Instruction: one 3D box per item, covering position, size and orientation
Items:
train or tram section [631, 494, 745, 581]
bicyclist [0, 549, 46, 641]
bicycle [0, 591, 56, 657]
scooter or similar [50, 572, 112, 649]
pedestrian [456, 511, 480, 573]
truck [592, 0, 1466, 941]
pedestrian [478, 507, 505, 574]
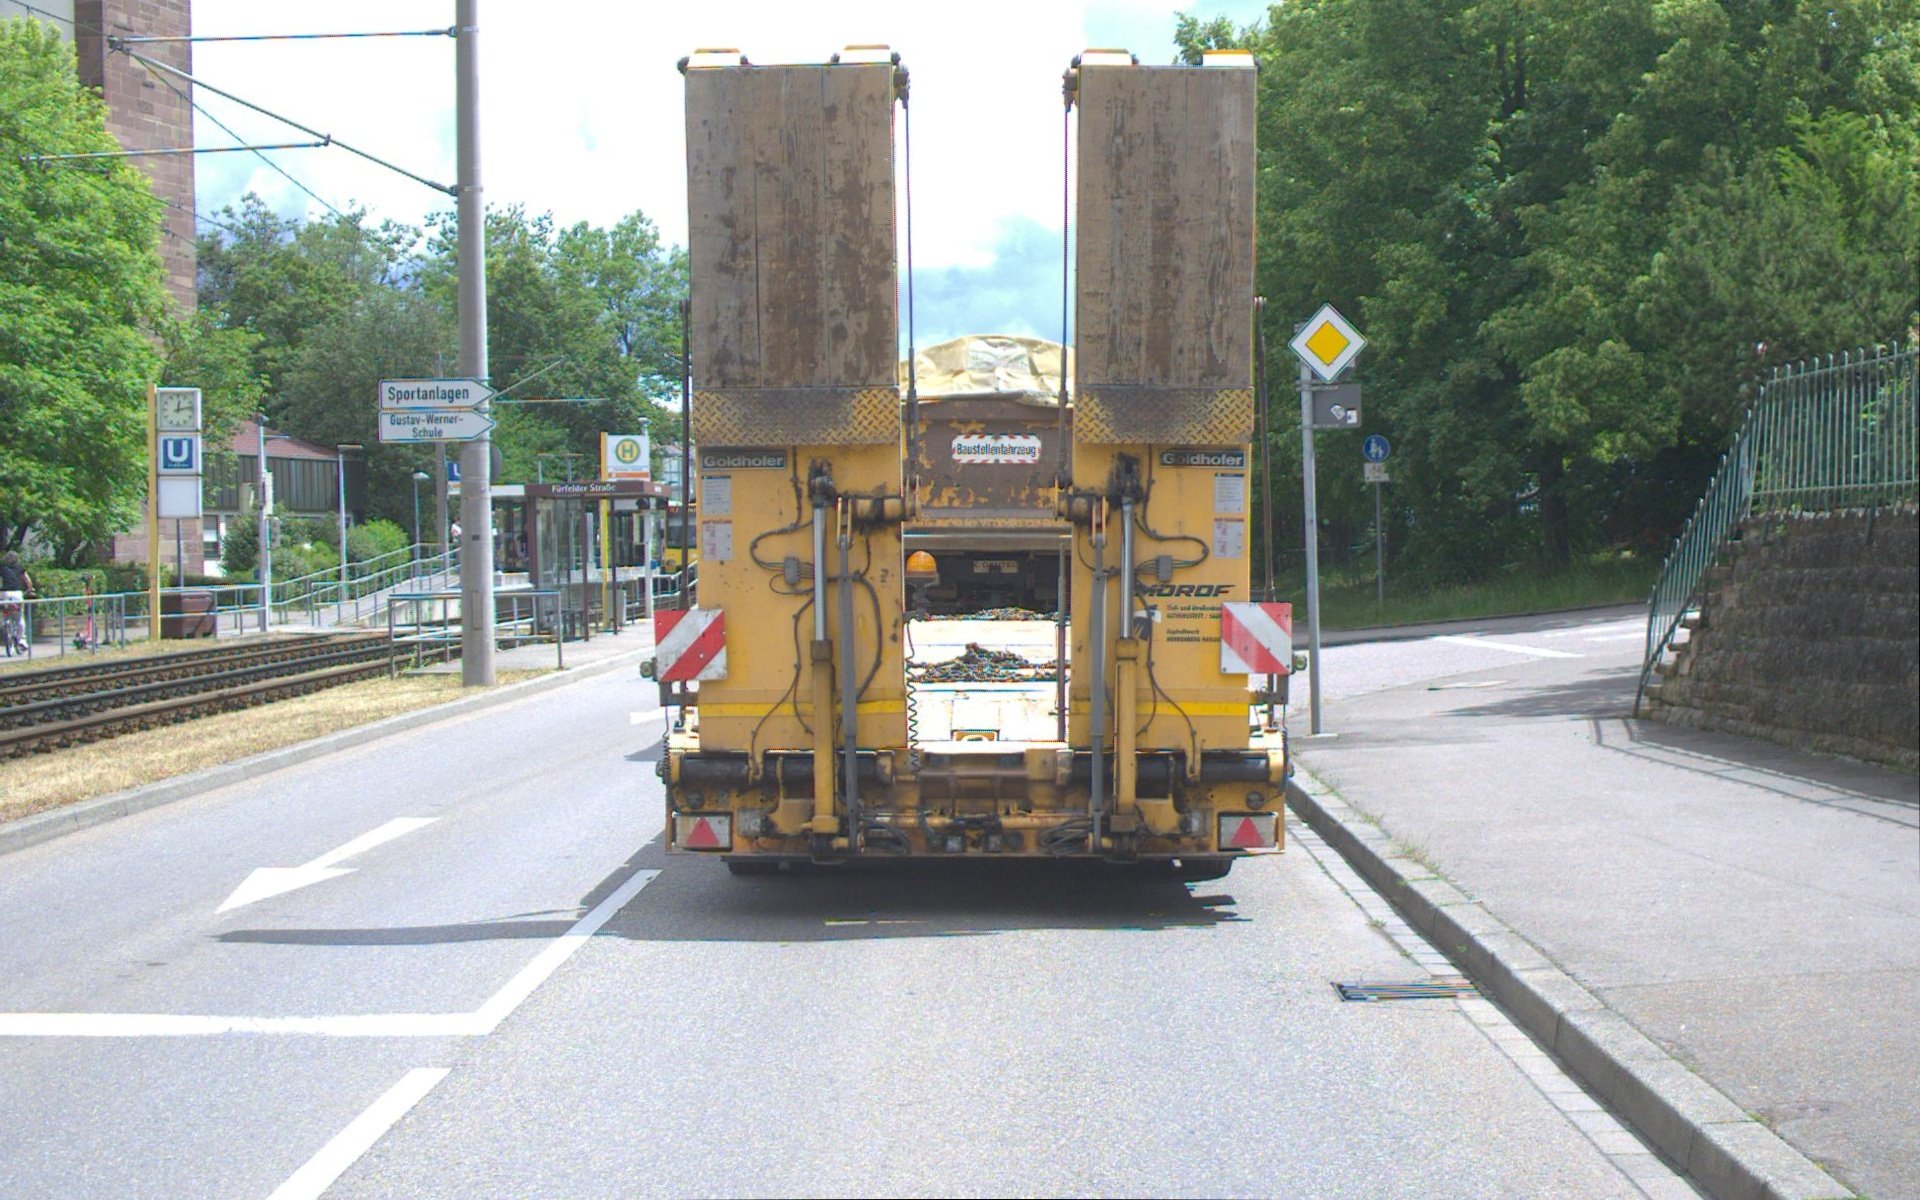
[{"bbox_3d":[-11.438,-2.606,146.544,3.108,3.453,18.826,1,1,1],"label":"train or tram section"},{"bbox_3d":[-14.769,-0.087,53.933,0.633,1.424,0.790,1,1,1],"label":"bicyclist"},{"bbox_3d":[-14.802,0.375,54.063,0.637,0.990,1.928,1,1,1],"label":"bicycle"},{"bbox_3d":[-14.681,0.165,57.452,0.649,1.233,1.401,1,2,1],"label":"scooter or similar"},{"bbox_3d":[-14.313,-1.687,100.105,0.584,1.771,0.576,1,1,1],"label":"pedestrian"},{"bbox_3d":[0.076,-0.631,20.423,3.402,3.719,13.740,-1,1,-2],"label":"truck"},{"bbox_3d":[-14.324,-1.814,105.067,0.712,2.007,0.732,1,1,-1],"label":"pedestrian"}]
